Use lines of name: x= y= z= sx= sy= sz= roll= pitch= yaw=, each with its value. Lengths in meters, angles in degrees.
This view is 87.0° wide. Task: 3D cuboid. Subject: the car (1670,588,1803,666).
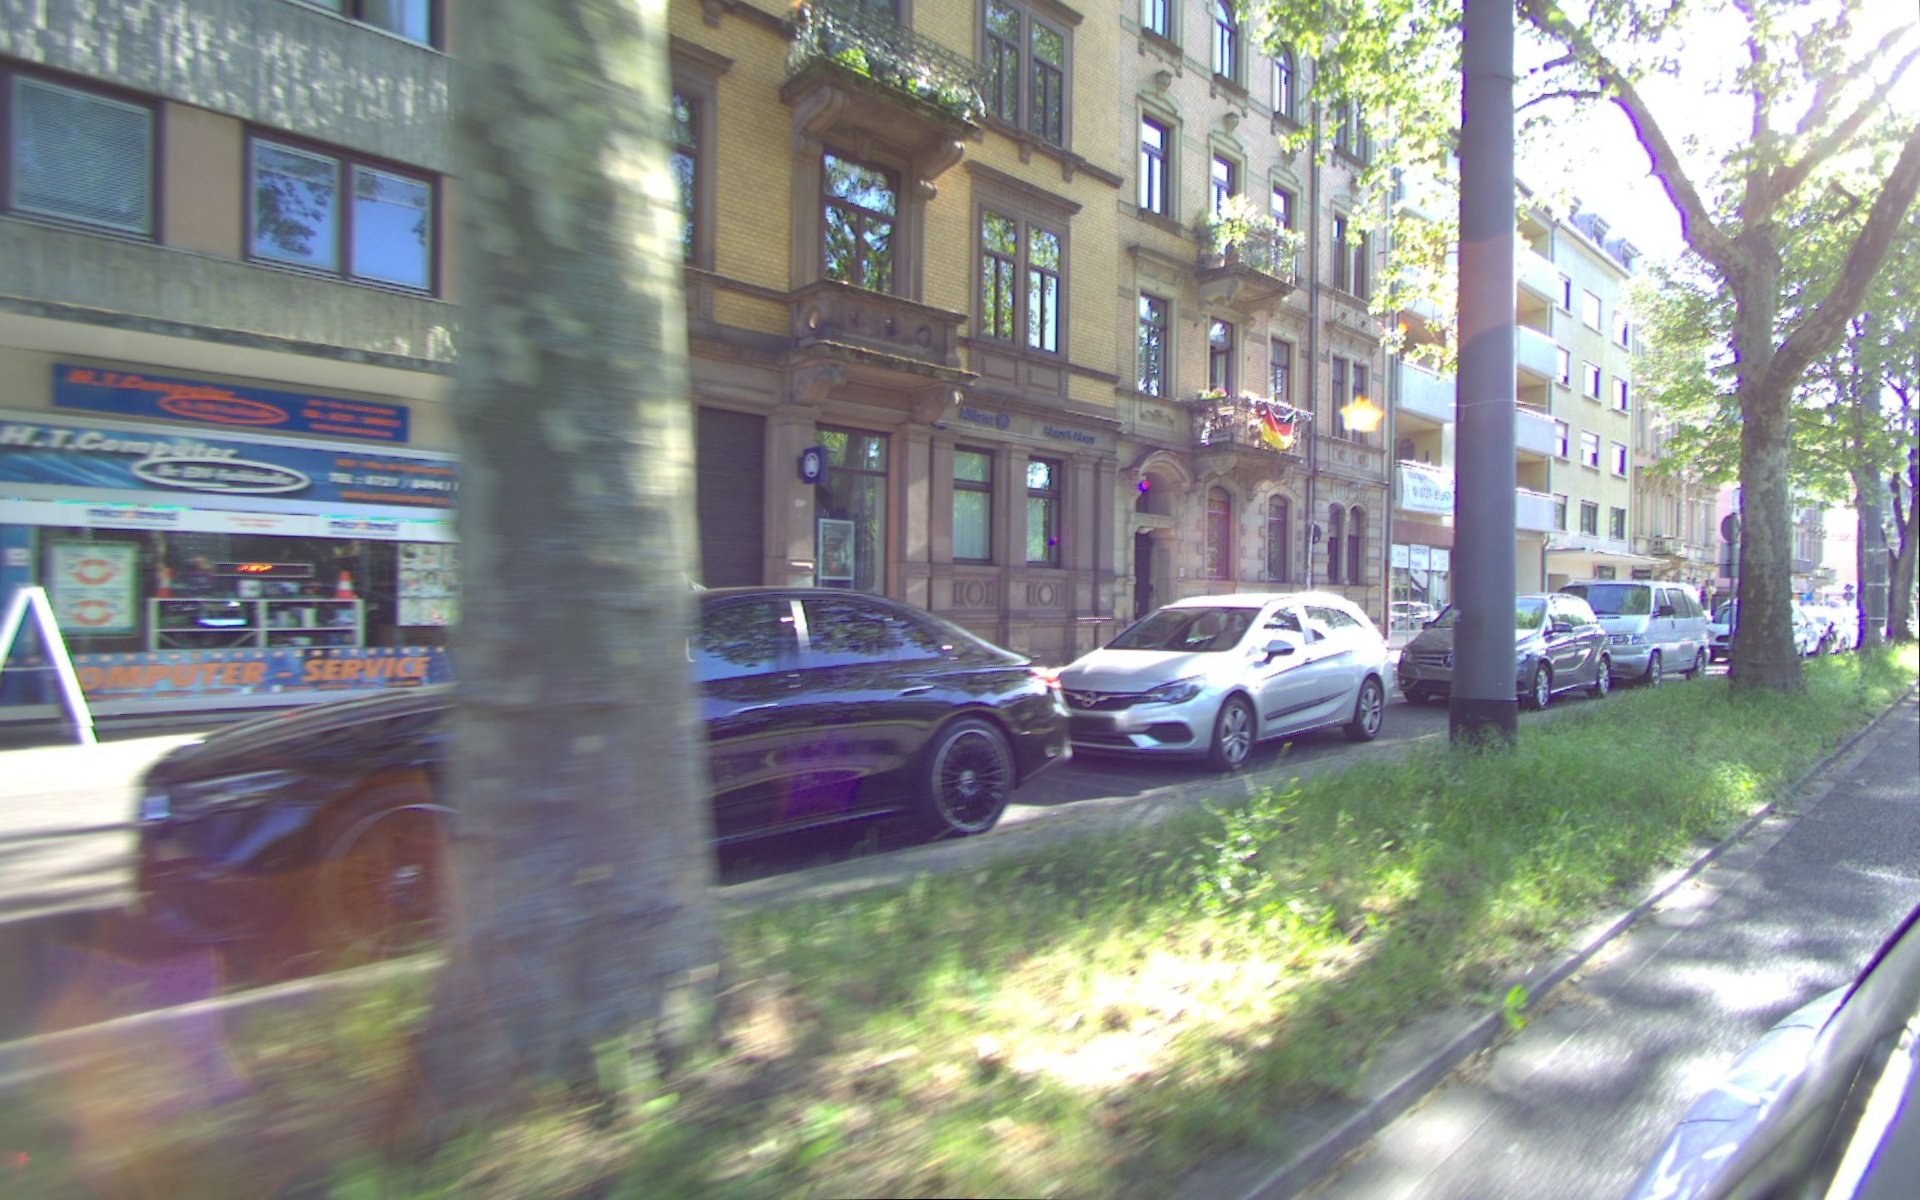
car: x=18.320 y=0.633 z=23.814 sx=4.067 sy=1.690 sz=1.628 roll=1 pitch=-2 yaw=-40

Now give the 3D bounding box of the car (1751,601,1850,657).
car: x=24.361 y=0.832 z=29.301 sx=3.719 sy=1.505 sz=1.564 roll=1 pitch=-2 yaw=-40

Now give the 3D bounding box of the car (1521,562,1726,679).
car: x=12.009 y=0.368 z=18.193 sx=4.715 sy=1.839 sz=1.867 roll=1 pitch=-2 yaw=-41

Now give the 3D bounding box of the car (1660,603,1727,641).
car: x=31.012 y=0.895 z=42.732 sx=3.935 sy=1.499 sz=1.694 roll=0 pitch=0 yaw=-45

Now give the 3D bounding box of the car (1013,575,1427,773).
car: x=2.710 y=0.576 z=9.808 sx=4.591 sy=1.485 sz=1.678 roll=0 pitch=-1 yaw=-43

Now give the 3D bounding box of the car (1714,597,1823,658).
car: x=21.233 y=0.723 z=26.549 sx=3.428 sy=1.499 sz=1.515 roll=1 pitch=-2 yaw=-39

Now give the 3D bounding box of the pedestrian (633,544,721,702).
pedestrian: x=-3.502 y=0.267 z=12.491 sx=0.702 sy=1.863 sz=1.001 roll=1 pitch=0 yaw=-40

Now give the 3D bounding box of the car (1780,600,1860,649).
car: x=27.796 y=0.783 z=32.674 sx=3.636 sy=1.496 sz=1.626 roll=1 pitch=-2 yaw=-44

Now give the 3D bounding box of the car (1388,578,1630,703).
car: x=7.958 y=0.531 z=14.493 sx=4.282 sy=1.522 sz=1.706 roll=1 pitch=-2 yaw=-42

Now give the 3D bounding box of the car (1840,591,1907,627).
car: x=38.423 y=0.408 z=42.557 sx=4.098 sy=1.440 sz=1.698 roll=1 pitch=-2 yaw=-43

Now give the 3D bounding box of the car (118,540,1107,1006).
car: x=-1.475 y=0.580 z=5.568 sx=4.833 sy=1.509 sz=1.808 roll=0 pitch=-1 yaw=-41
